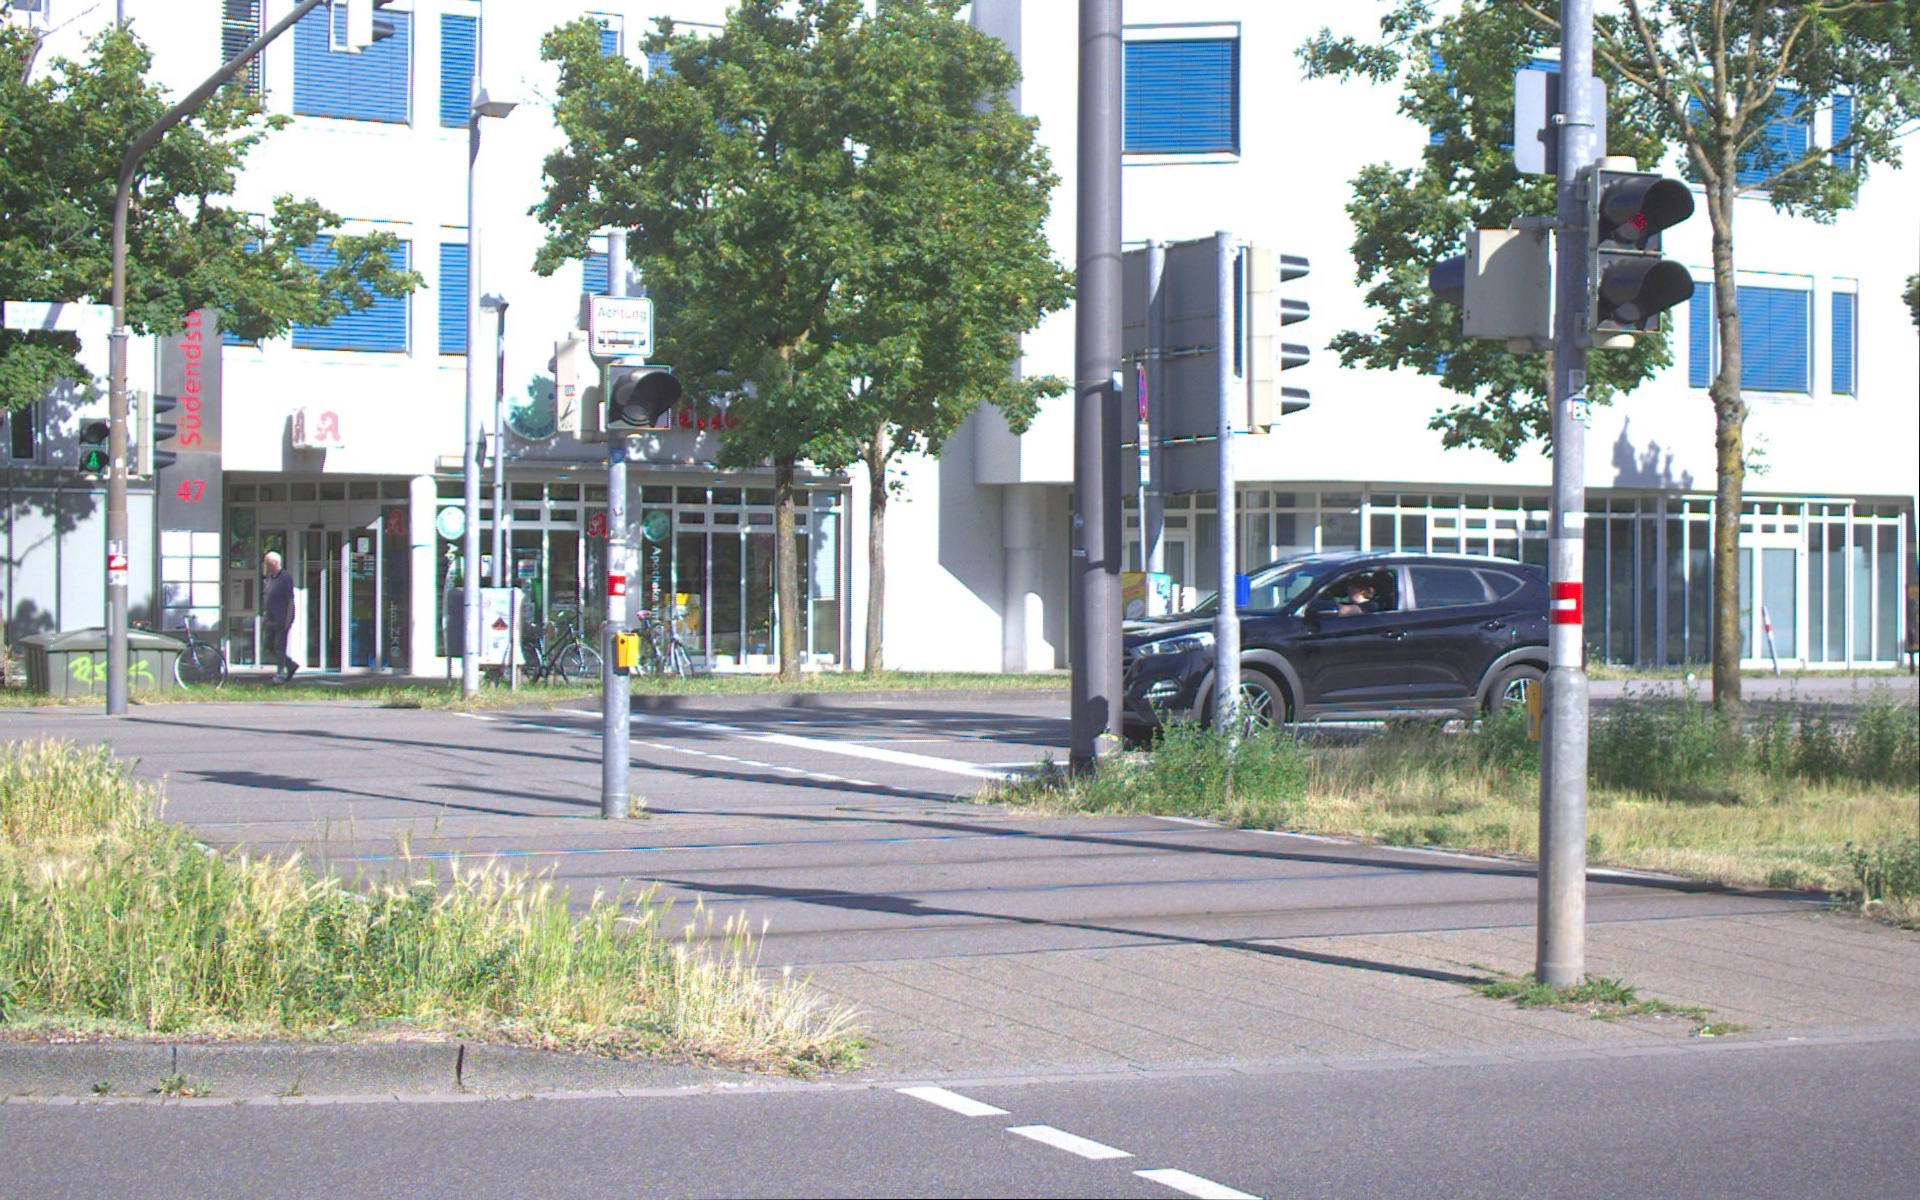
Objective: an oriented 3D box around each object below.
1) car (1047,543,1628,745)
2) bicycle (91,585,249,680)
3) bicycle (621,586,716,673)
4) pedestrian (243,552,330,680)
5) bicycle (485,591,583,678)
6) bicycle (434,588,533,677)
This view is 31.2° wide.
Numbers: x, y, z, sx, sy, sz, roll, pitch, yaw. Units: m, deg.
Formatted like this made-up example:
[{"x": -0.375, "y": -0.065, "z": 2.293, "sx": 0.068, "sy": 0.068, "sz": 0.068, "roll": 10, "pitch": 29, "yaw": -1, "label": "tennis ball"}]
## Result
[{"x": 3.198, "y": 0.343, "z": 29.138, "sx": 4.500, "sy": 1.604, "sz": 2.000, "roll": 0, "pitch": 0, "yaw": -23, "label": "car"}, {"x": -9.927, "y": 0.399, "z": 43.232, "sx": 1.864, "sy": 1.178, "sz": 0.562, "roll": 0, "pitch": 0, "yaw": -37, "label": "bicycle"}, {"x": -4.097, "y": 0.400, "z": 48.207, "sx": 0.560, "sy": 1.178, "sz": 1.870, "roll": 0, "pitch": 0, "yaw": -31, "label": "bicycle"}, {"x": -9.130, "y": 0.208, "z": 46.618, "sx": 0.989, "sy": 1.717, "sz": 0.654, "roll": 0, "pitch": 0, "yaw": -34, "label": "pedestrian"}, {"x": -5.904, "y": 0.465, "z": 47.551, "sx": 0.560, "sy": 1.178, "sz": 1.869, "roll": 0, "pitch": 0, "yaw": -34, "label": "bicycle"}, {"x": -6.495, "y": 0.428, "z": 46.807, "sx": 0.560, "sy": 1.178, "sz": 1.869, "roll": 0, "pitch": 0, "yaw": -34, "label": "bicycle"}]
